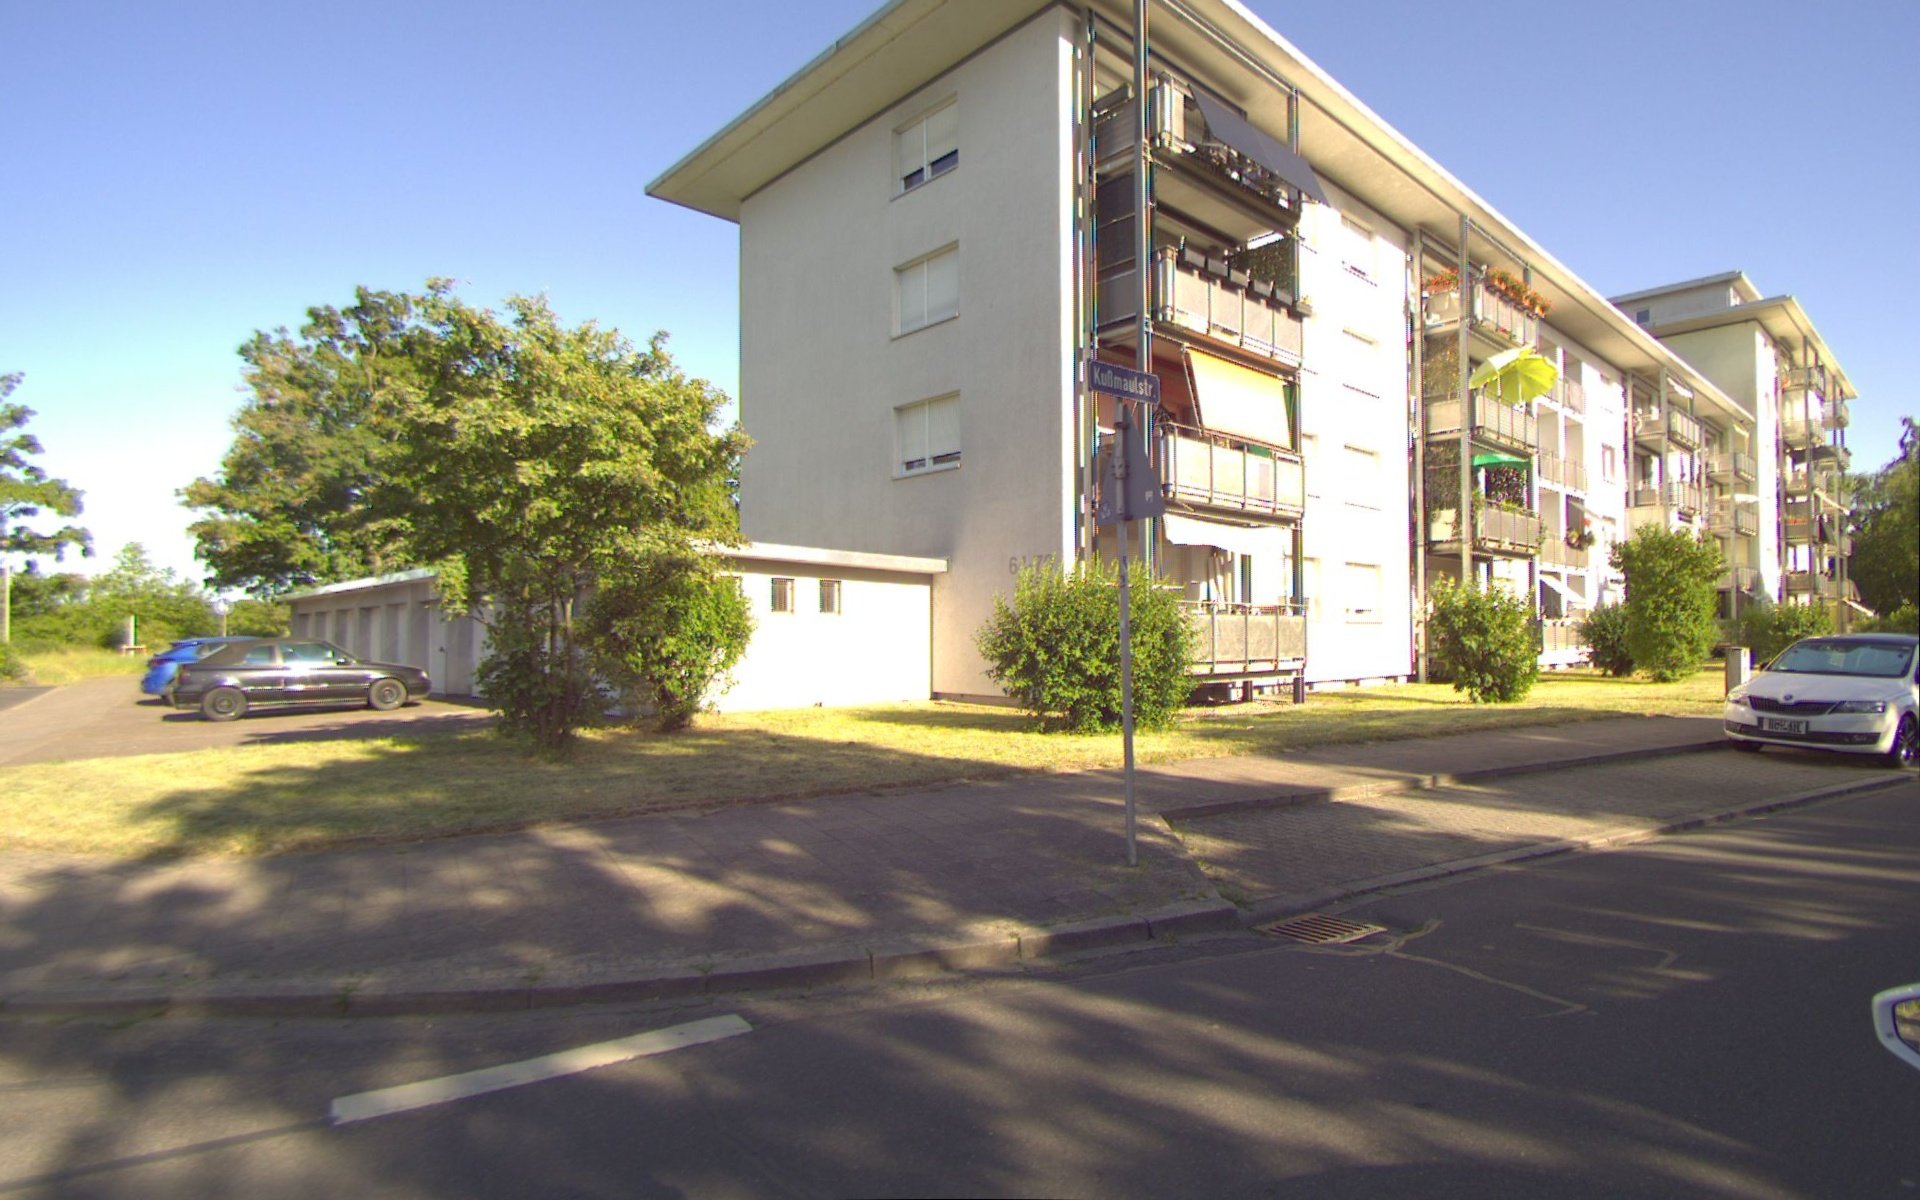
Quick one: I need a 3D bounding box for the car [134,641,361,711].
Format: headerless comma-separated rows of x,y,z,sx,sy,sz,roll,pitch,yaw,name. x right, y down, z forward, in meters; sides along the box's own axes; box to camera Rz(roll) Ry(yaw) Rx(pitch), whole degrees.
-16.048,1.668,22.749,4.003,1.406,1.824,2,-4,-43,car

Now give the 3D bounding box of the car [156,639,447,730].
-12.101,1.475,18.607,4.331,1.375,1.937,0,-2,-39,car

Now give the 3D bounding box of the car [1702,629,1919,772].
11.261,1.127,12.512,4.278,1.486,1.639,0,-1,-29,car

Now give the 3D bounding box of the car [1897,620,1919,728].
16.854,1.119,15.740,4.756,1.625,1.905,1,-3,-31,car
